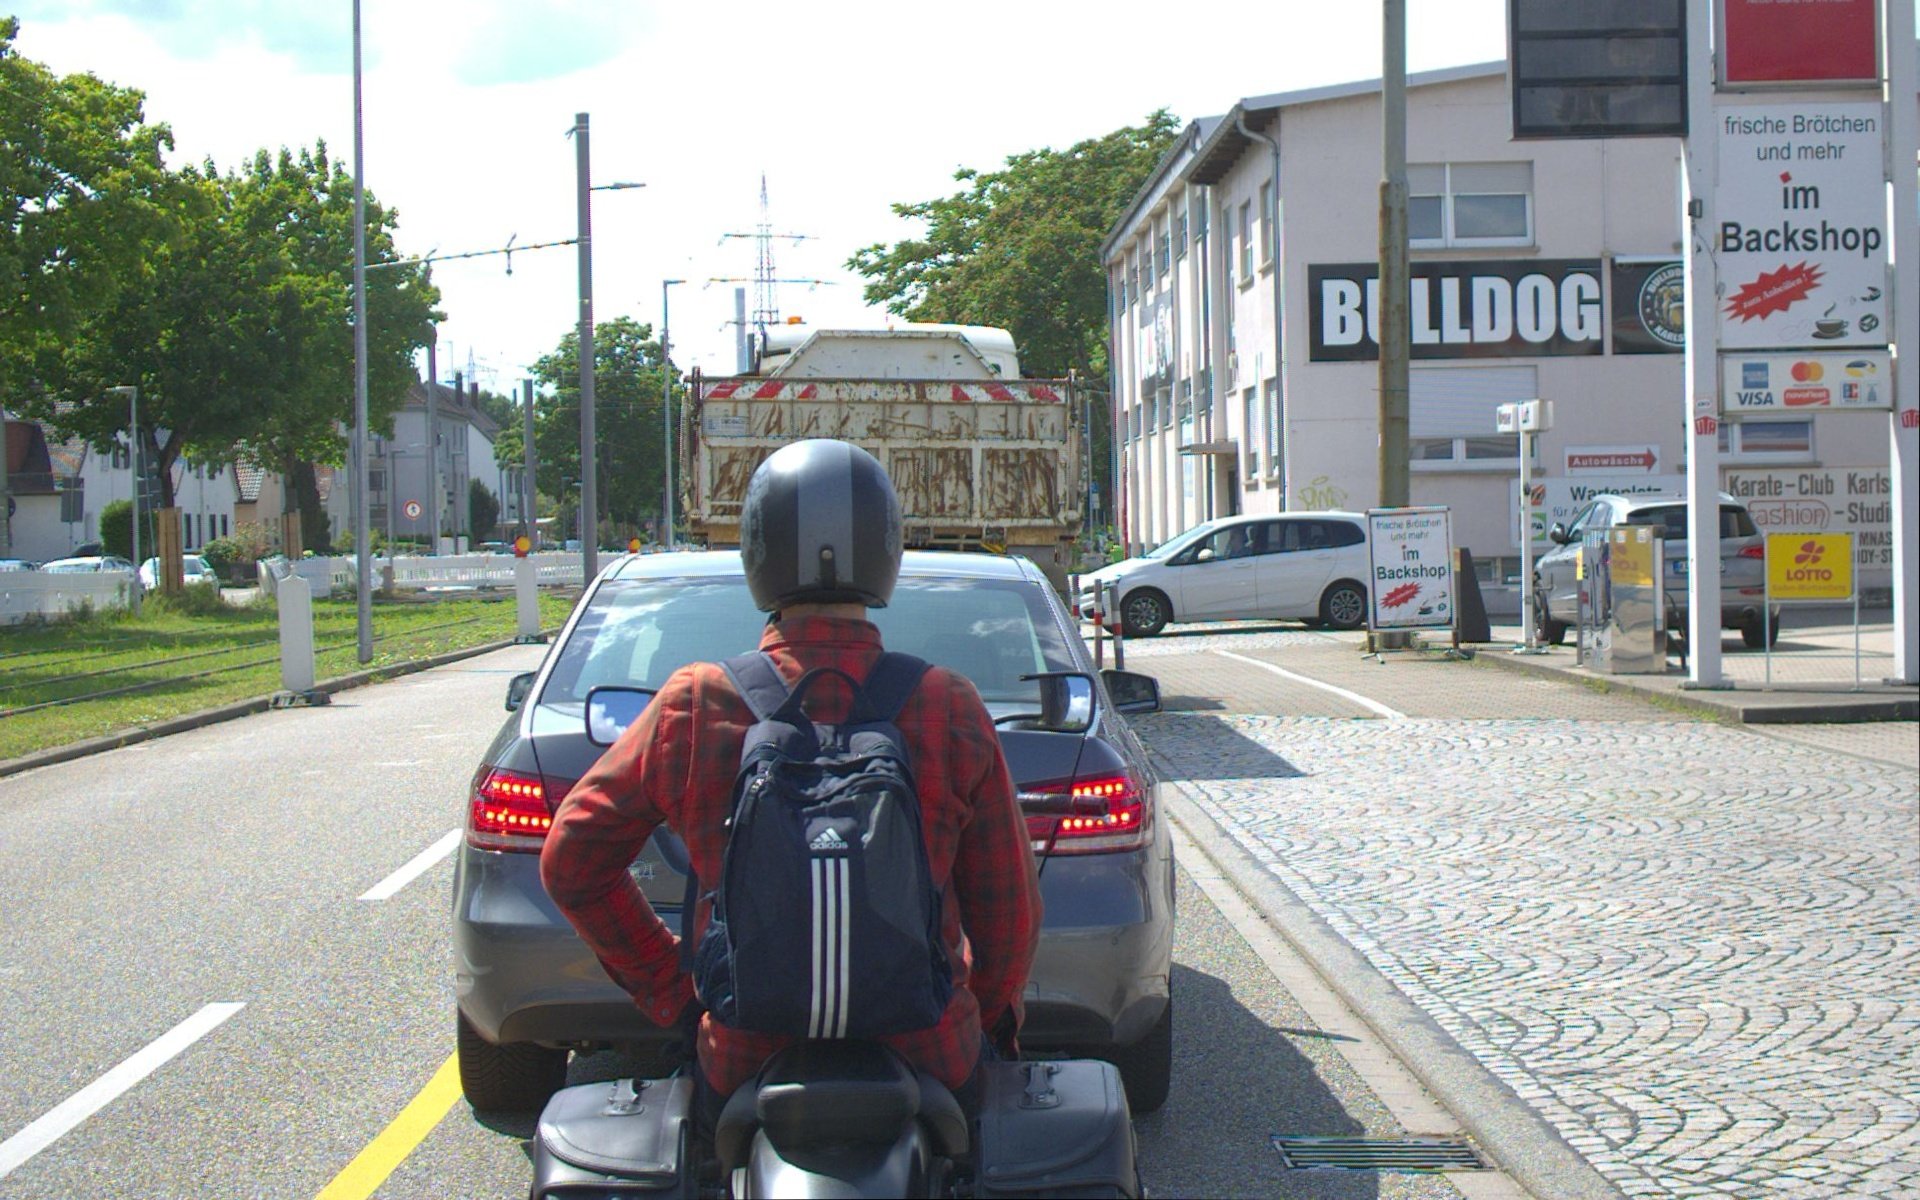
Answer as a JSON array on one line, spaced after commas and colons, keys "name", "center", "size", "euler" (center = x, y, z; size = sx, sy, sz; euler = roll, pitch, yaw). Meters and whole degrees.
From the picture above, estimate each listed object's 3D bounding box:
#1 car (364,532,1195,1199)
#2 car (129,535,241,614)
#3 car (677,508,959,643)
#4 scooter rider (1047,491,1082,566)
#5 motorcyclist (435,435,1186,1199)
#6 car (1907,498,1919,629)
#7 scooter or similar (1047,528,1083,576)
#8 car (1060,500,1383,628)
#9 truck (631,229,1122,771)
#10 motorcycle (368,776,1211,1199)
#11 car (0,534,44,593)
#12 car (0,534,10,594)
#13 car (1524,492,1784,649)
[{"name": "car", "center": [-0.461, 0.570, 9.746], "size": [1.832, 1.474, 4.010], "euler": [-1, 1, -2]}, {"name": "car", "center": [-17.882, -0.618, 79.495], "size": [1.698, 1.733, 3.860], "euler": [-1, 1, 0]}, {"name": "car", "center": [-1.875, -0.329, 44.161], "size": [1.680, 1.619, 4.118], "euler": [-2, 2, -34]}, {"name": "scooter rider", "center": [2.538, -1.742, 83.810], "size": [0.795, 1.812, 0.508], "euler": [-1, 1, -1]}, {"name": "motorcyclist", "center": [-0.205, 0.591, 5.090], "size": [0.969, 1.627, 1.215], "euler": [1, 1, -1]}, {"name": "car", "center": [11.790, -0.401, 37.248], "size": [1.832, 1.474, 4.010], "euler": [-1, 1, -2]}, {"name": "scooter or similar", "center": [2.554, -1.183, 83.766], "size": [0.795, 1.141, 1.519], "euler": [-1, 1, -1]}, {"name": "car", "center": [3.552, -0.501, 47.036], "size": [4.104, 1.619, 1.686], "euler": [-1, 1, -8]}, {"name": "truck", "center": [-0.633, -0.714, 25.474], "size": [2.970, 3.293, 8.408], "euler": [-1, 1, -2]}, {"name": "motorcycle", "center": [-0.216, 0.866, 5.213], "size": [0.976, 1.010, 2.432], "euler": [1, 1, -1]}, {"name": "car", "center": [-29.262, -1.116, 104.595], "size": [1.698, 1.733, 4.062], "euler": [-1, 1, 0]}, {"name": "car", "center": [-28.667, -1.004, 98.584], "size": [1.698, 1.733, 4.062], "euler": [-1, 1, 0]}, {"name": "car", "center": [7.326, -0.341, 36.650], "size": [1.832, 1.530, 4.010], "euler": [-1, 1, -2]}]
